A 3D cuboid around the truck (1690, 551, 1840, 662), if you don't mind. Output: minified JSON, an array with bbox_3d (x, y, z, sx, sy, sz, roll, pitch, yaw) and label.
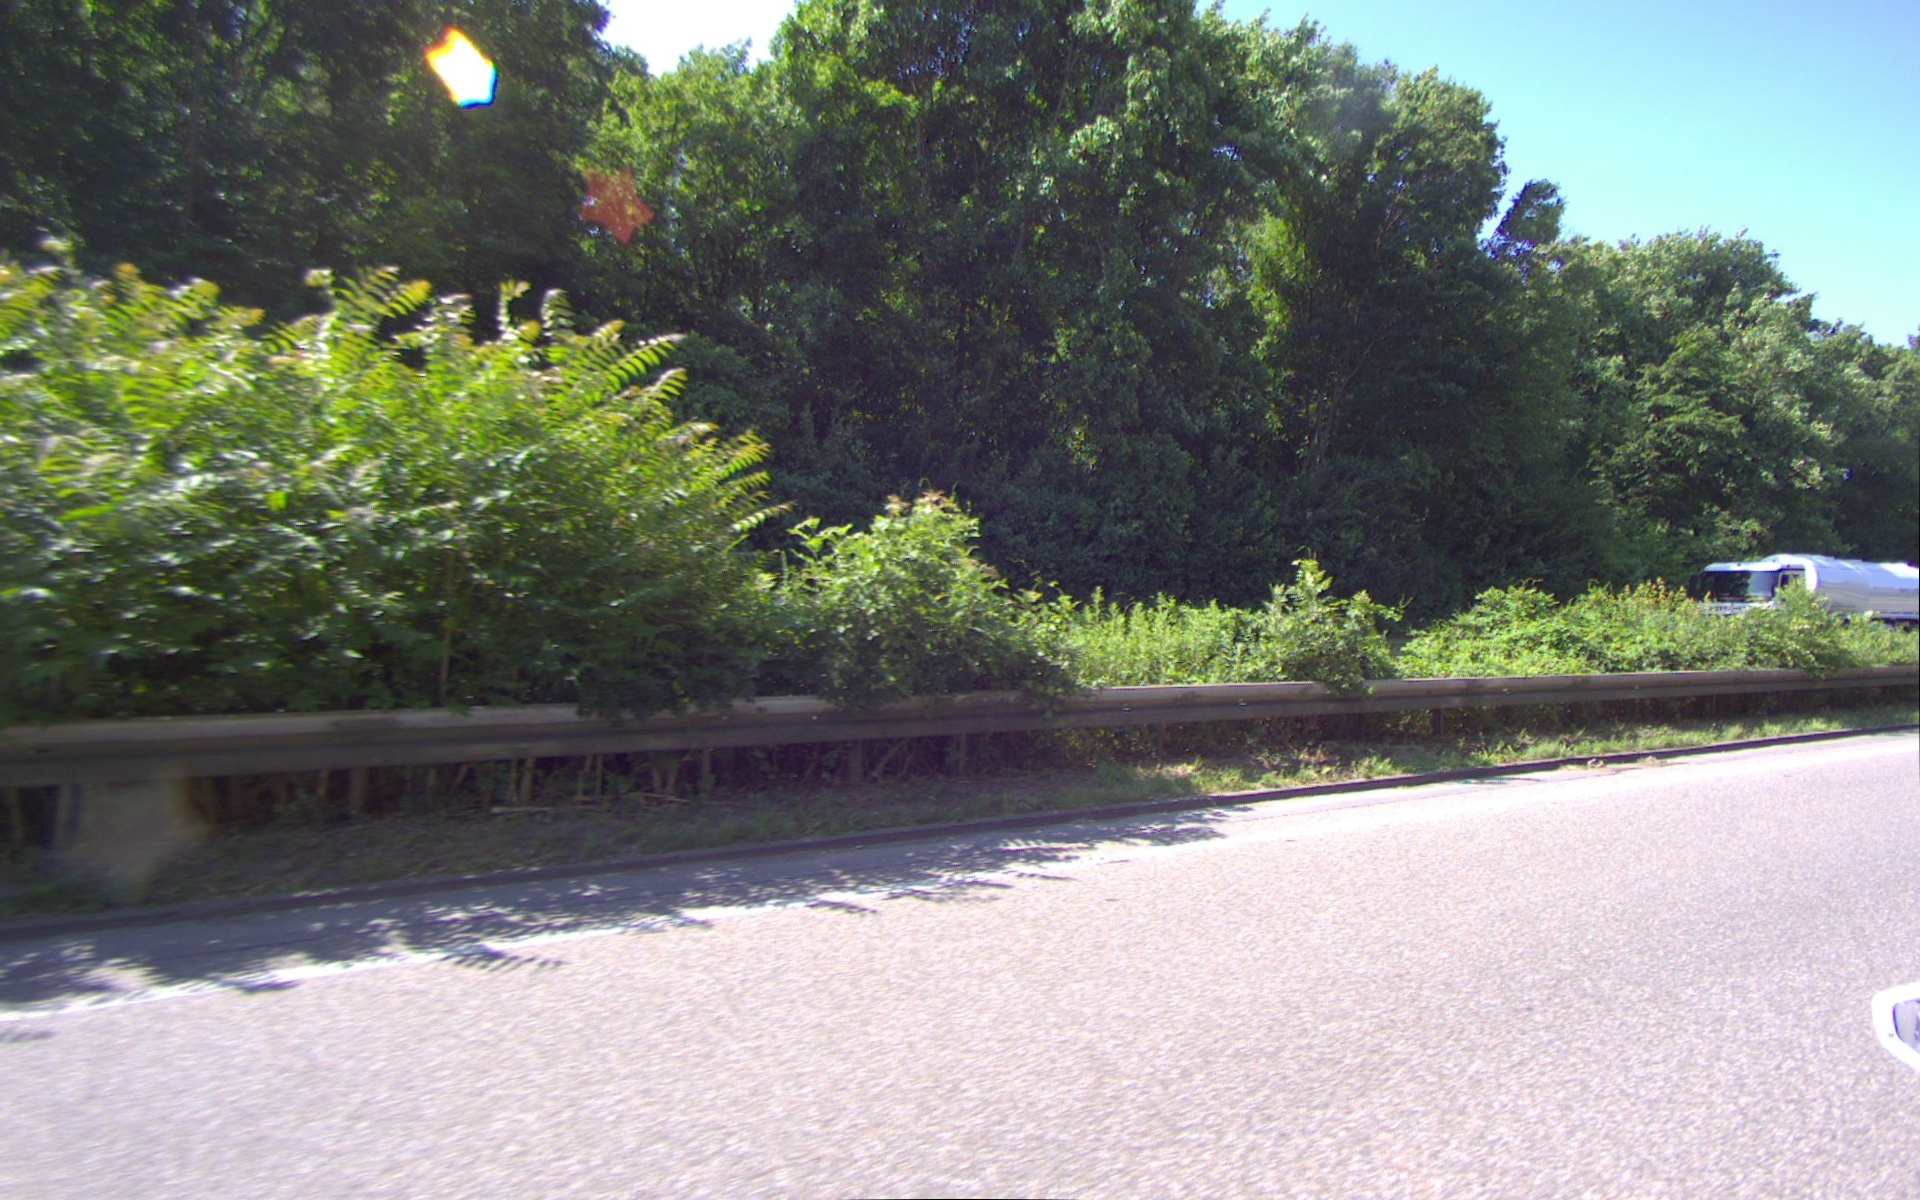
[{"bbox_3d":[26.341,0.236,32.874,4.488,3.386,2.327,1,0,-30],"label":"truck"}]

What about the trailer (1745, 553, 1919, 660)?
[{"bbox_3d":[32.017,0.344,36.067,11.285,3.447,1.984,2,0,-30],"label":"trailer"}]
